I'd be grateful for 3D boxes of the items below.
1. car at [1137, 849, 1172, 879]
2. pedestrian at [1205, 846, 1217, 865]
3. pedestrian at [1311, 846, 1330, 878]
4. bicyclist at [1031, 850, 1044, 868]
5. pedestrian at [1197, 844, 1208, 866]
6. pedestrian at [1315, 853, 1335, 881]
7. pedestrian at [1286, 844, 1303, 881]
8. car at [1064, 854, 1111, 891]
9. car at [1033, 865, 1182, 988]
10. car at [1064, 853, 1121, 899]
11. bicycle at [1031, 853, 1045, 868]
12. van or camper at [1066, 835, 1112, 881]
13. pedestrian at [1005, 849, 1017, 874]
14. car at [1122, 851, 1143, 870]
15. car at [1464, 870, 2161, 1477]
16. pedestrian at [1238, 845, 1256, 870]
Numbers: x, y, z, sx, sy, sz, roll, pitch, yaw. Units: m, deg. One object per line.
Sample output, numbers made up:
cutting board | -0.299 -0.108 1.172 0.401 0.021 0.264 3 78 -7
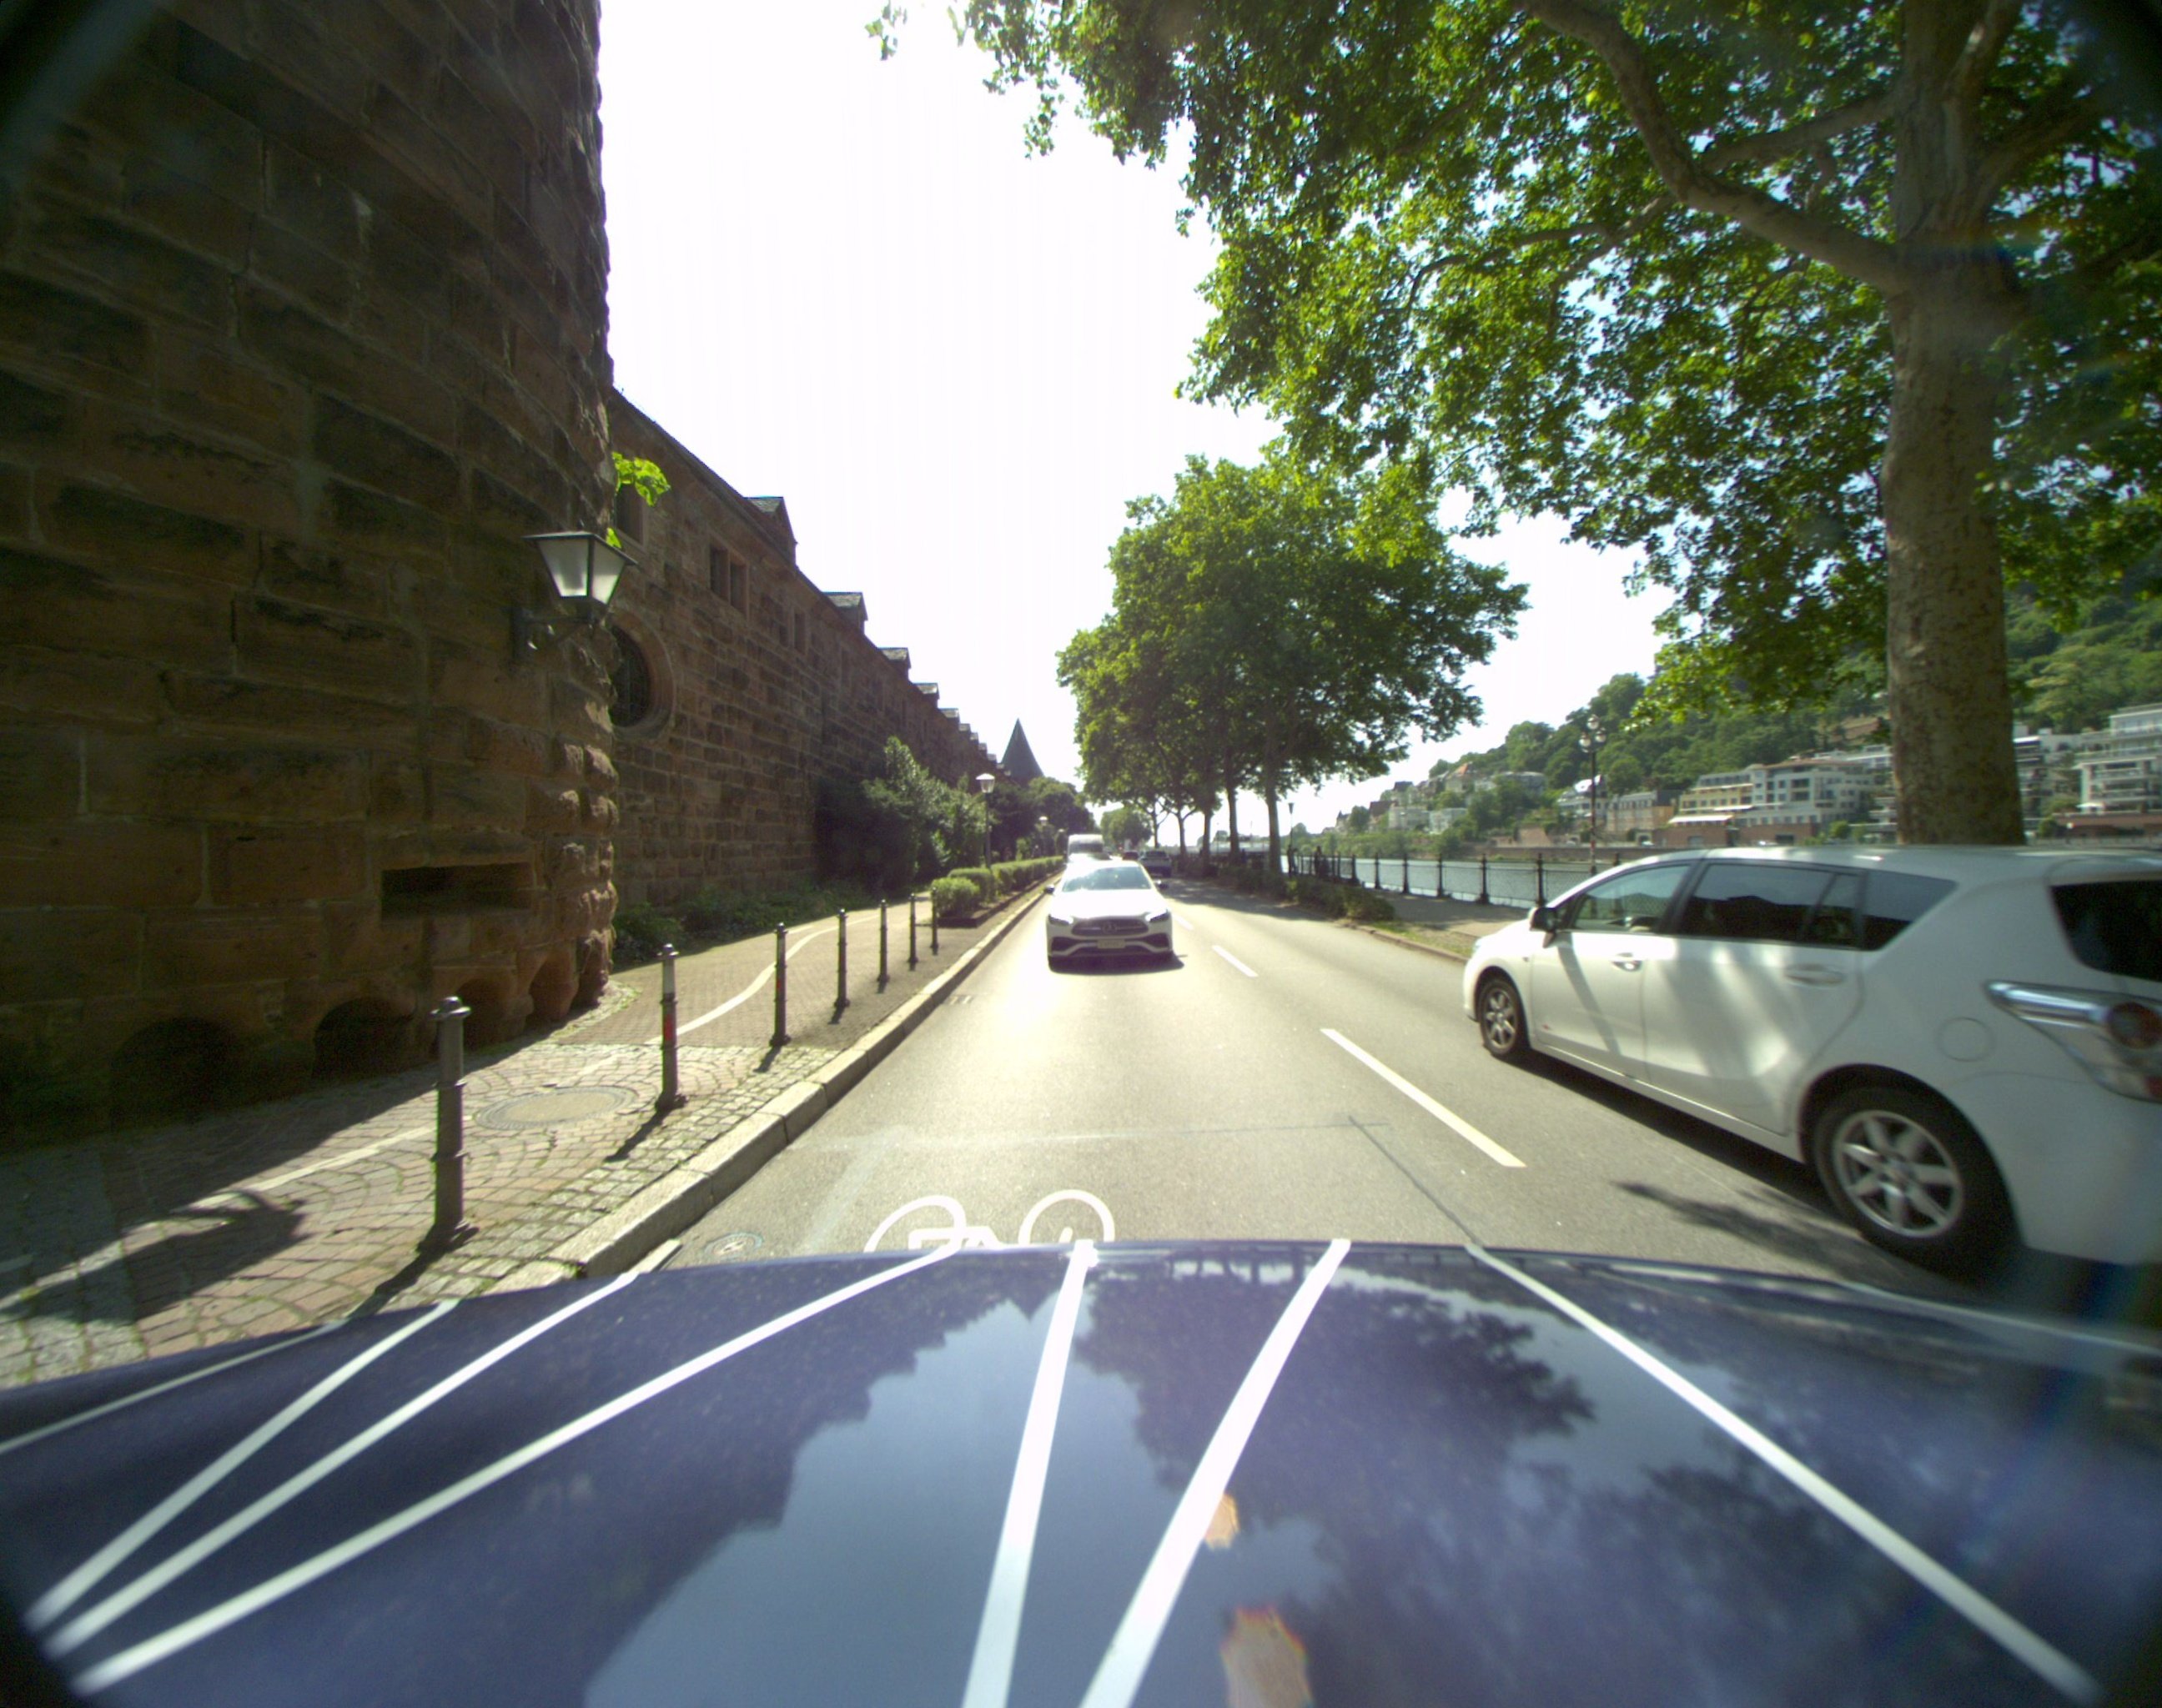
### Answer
car | 4.295 0.550 45.010 1.773 1.650 4.000 1 1 1
pedestrian | 11.378 0.152 66.526 0.897 1.625 1.059 -2 2 7
pedestrian | 13.313 0.439 42.333 0.777 1.748 0.830 1 1 0
bicyclist | -3.043 0.345 53.482 0.812 1.264 0.852 -3 1 0
pedestrian | 10.570 0.104 66.179 0.806 1.839 0.929 -3 2 1
pedestrian | 12.422 0.661 38.640 0.768 1.379 0.770 0 1 0
pedestrian | 11.134 0.430 39.702 0.767 1.890 0.771 0 1 8
car | 0.314 0.730 32.557 1.833 1.395 4.423 -2 0 1
car | 0.372 0.949 11.760 1.833 1.395 4.270 -2 0 1
car | 0.422 0.729 27.391 1.833 1.428 4.270 -2 0 1
bicycle | -3.031 0.460 53.557 0.812 0.967 2.409 -3 1 0
van or camper | 0.435 0.186 41.405 2.313 2.358 5.034 1 1 0
pedestrian | -4.453 0.459 48.132 0.643 1.555 0.563 -3 2 1
car | 4.797 0.582 71.136 1.677 1.650 4.223 2 0 1
car | 3.886 0.938 3.947 1.743 1.563 4.092 2 0 1
pedestrian | 13.263 0.277 60.578 1.047 2.002 1.036 -2 2 31
